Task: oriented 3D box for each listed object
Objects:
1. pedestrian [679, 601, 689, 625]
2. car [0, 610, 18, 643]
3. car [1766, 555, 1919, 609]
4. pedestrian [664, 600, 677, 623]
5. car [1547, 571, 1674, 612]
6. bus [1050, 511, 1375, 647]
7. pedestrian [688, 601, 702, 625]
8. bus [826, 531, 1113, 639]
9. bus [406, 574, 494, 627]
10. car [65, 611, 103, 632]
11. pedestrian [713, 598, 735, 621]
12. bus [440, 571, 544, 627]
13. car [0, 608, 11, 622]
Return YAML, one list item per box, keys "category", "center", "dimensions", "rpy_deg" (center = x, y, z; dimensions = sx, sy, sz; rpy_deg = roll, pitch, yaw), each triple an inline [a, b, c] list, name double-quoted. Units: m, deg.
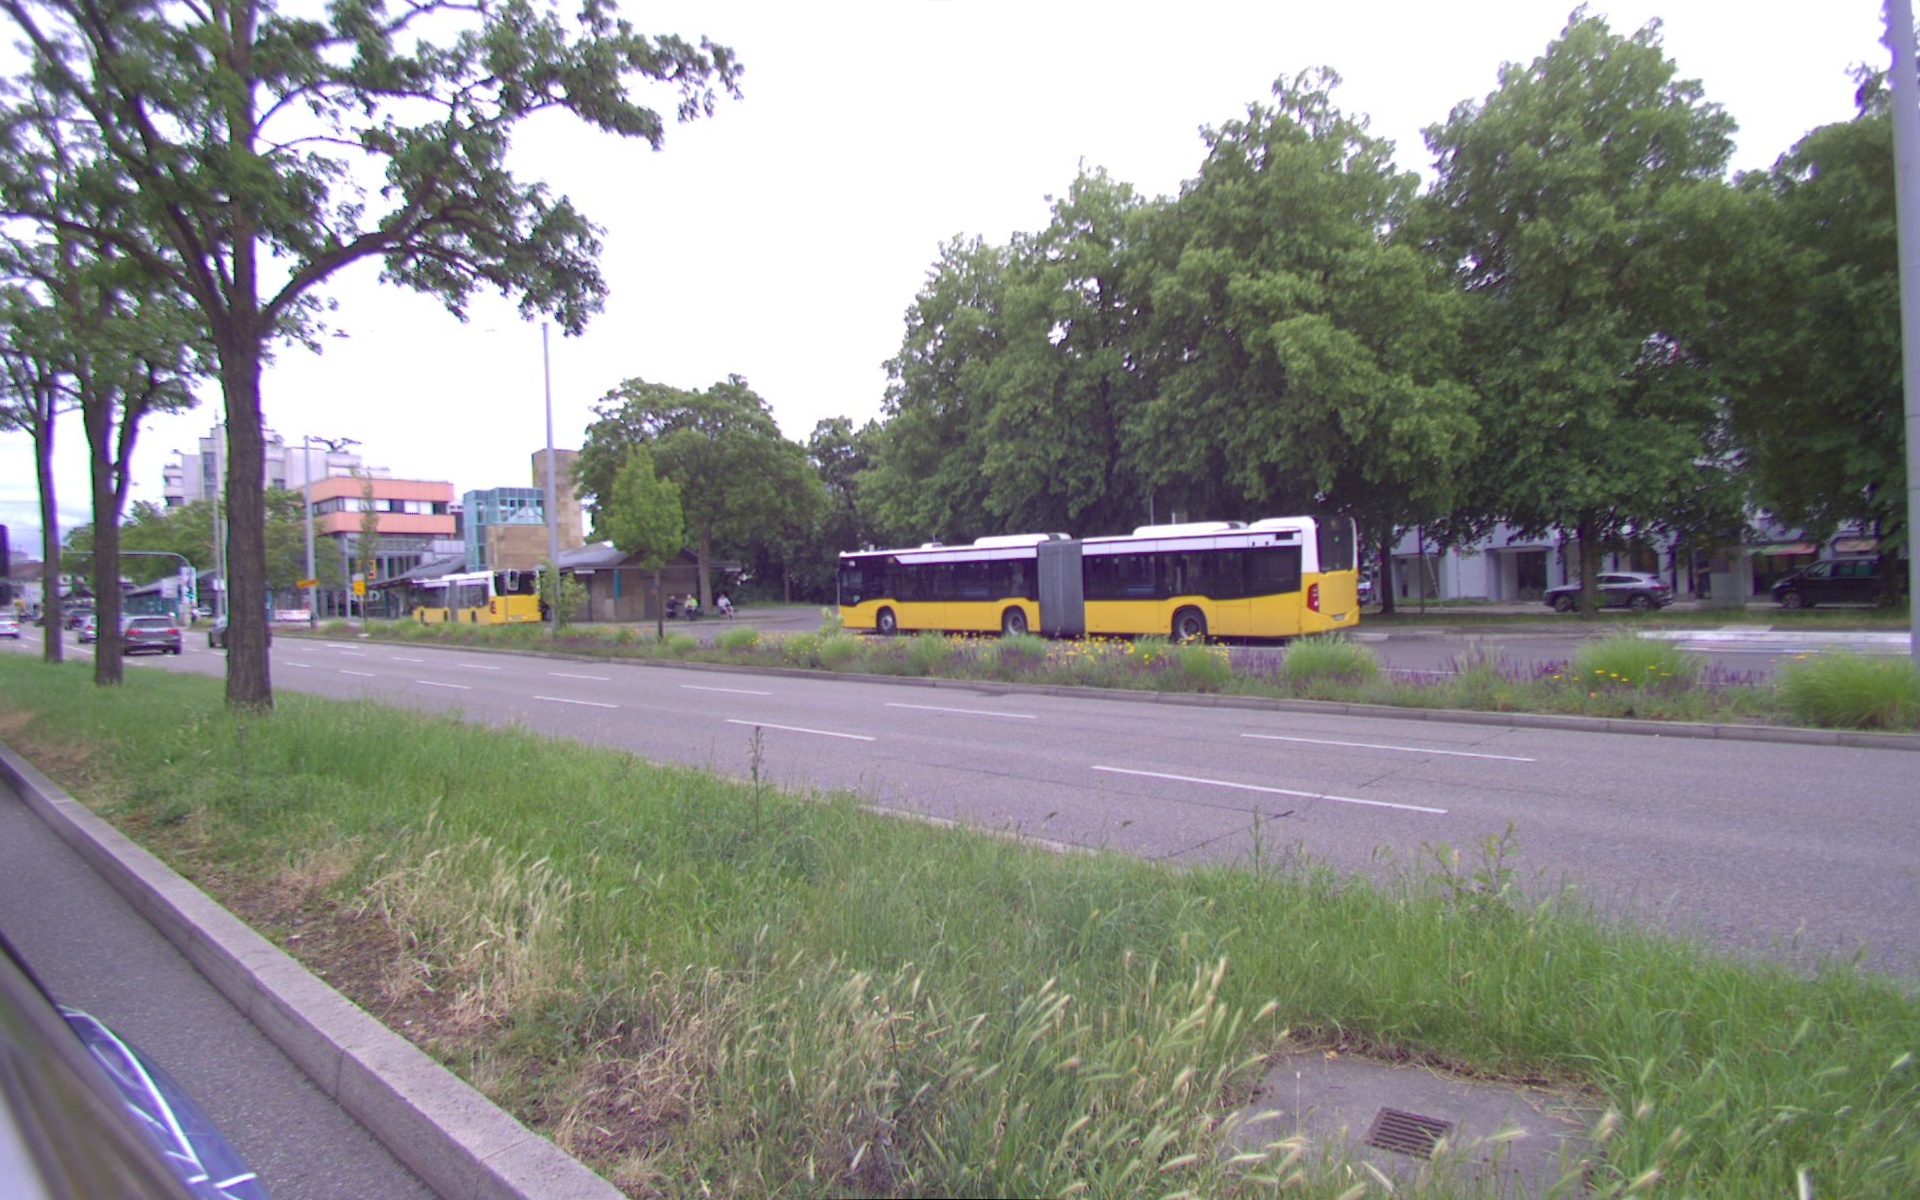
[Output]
- category: "pedestrian"
  center: [-13.709, 0.634, 50.275]
  dimensions: [0.361, 1.175, 0.900]
  rpy_deg: [-1, 0, -23]
- category: "car"
  center: [-59.988, 1.668, 63.012]
  dimensions: [4.000, 2.029, 1.703]
  rpy_deg: [-1, 0, 43]
- category: "car"
  center: [33.129, -0.633, 37.786]
  dimensions: [1.758, 1.861, 4.429]
  rpy_deg: [-1, 0, -35]
- category: "pedestrian"
  center: [-14.875, 0.610, 52.030]
  dimensions: [0.589, 1.171, 0.745]
  rpy_deg: [-1, 0, -20]
- category: "car"
  center: [25.939, -0.337, 40.422]
  dimensions: [4.002, 1.524, 1.734]
  rpy_deg: [-1, 0, 45]
- category: "bus"
  center: [6.309, -0.421, 26.425]
  dimensions: [2.849, 3.025, 7.889]
  rpy_deg: [-1, 0, -44]
- category: "pedestrian"
  center: [-13.246, 0.627, 50.555]
  dimensions: [0.589, 1.171, 0.745]
  rpy_deg: [-1, 0, -23]
- category: "bus"
  center: [-0.080, -0.361, 33.002]
  dimensions: [2.848, 3.025, 10.401]
  rpy_deg: [-1, 0, -44]
- category: "bus"
  center: [-31.452, 0.064, 62.211]
  dimensions: [2.846, 3.025, 9.191]
  rpy_deg: [-1, 0, -40]
- category: "car"
  center: [-71.014, 1.773, 82.018]
  dimensions: [3.998, 1.624, 1.822]
  rpy_deg: [-1, 0, 41]
- category: "pedestrian"
  center: [-11.919, 0.473, 51.105]
  dimensions: [0.924, 1.180, 0.641]
  rpy_deg: [-1, 0, 41]
- category: "bus"
  center: [-25.700, 0.001, 55.287]
  dimensions: [2.846, 2.830, 9.191]
  rpy_deg: [-1, 0, -40]
- category: "car"
  center: [-143.755, 2.226, 151.606]
  dimensions: [3.998, 2.029, 1.973]
  rpy_deg: [-1, 0, 41]
